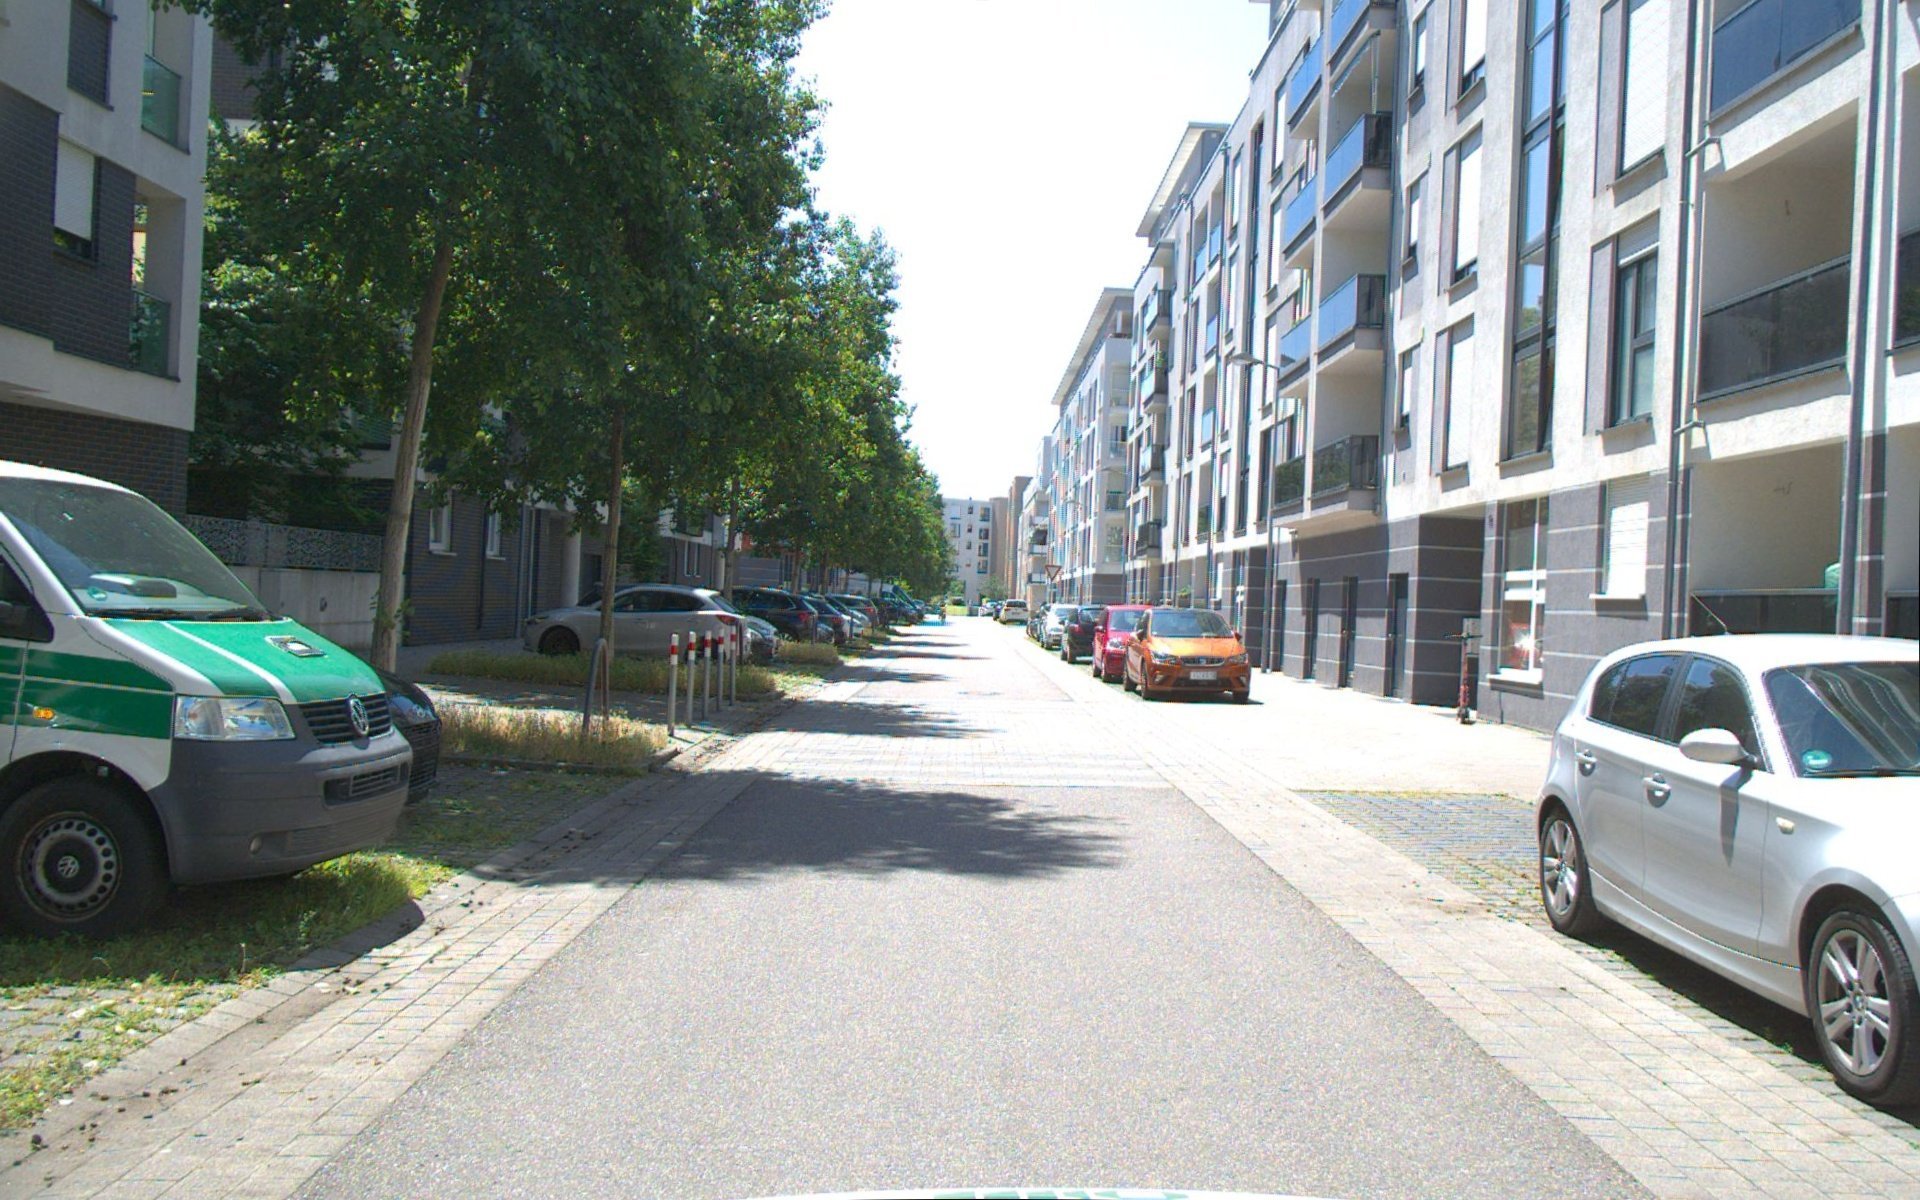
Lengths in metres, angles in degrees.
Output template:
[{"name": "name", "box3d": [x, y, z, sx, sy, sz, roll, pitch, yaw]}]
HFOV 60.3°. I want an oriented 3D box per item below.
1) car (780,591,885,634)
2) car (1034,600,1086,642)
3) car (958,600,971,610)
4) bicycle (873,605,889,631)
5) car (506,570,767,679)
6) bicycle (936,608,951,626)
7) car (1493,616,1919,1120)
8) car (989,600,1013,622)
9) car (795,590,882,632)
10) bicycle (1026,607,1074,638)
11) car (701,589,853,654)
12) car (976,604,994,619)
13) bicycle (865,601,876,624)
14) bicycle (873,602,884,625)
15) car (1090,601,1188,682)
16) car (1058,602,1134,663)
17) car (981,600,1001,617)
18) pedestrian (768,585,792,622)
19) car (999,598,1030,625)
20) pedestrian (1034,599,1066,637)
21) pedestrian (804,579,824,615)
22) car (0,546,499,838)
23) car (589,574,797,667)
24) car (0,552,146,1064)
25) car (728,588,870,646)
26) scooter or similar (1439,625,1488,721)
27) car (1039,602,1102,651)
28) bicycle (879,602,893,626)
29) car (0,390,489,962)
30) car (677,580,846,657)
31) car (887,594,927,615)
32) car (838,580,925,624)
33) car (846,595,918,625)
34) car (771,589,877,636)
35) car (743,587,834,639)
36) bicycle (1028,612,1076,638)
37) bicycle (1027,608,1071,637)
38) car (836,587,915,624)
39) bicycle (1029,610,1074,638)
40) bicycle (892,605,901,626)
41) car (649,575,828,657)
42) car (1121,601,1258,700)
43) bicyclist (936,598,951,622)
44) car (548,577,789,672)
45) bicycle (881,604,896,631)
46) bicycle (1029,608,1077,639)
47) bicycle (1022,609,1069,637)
[{"name": "car", "box3d": [-5.154, 0.513, 66.951, 4.098, 1.512, 1.957, 3, -1, -4]}, {"name": "car", "box3d": [3.758, 0.781, 62.776, 1.703, 1.511, 4.228, 1, 0, 0]}, {"name": "car", "box3d": [0.702, 0.749, 262.378, 1.953, 1.545, 3.999, 2, 0, -1]}, {"name": "bicycle", "box3d": [-3.558, 0.806, 74.365, 0.426, 1.147, 1.973, 1, 0, -12]}, {"name": "car", "box3d": [-5.667, 0.419, 29.371, 4.167, 1.544, 1.924, 4, 0, -1]}, {"name": "bicycle", "box3d": [-1.070, 1.078, 106.505, 0.880, 1.149, 2.039, 2, 0, -1]}, {"name": "car", "box3d": [3.736, 0.832, 6.595, 1.808, 1.441, 4.426, 2, 0, 1]}, {"name": "car", "box3d": [3.251, 0.871, 130.325, 1.721, 1.579, 4.002, 3, 0, 3]}, {"name": "car", "box3d": [-5.256, 0.478, 71.869, 3.556, 1.547, 1.832, 4, 0, 0]}, {"name": "bicycle", "box3d": [3.732, 0.947, 68.524, 1.888, 1.239, 0.459, 1, 0, -9]}, {"name": "car", "box3d": [-4.867, 0.567, 44.461, 3.896, 1.470, 1.774, 4, 0, -4]}, {"name": "car", "box3d": [3.110, 1.387, 206.101, 1.953, 1.747, 3.999, 2, 0, -1]}, {"name": "bicycle", "box3d": [-5.013, 0.706, 93.131, 0.508, 1.225, 1.752, 3, 1, -2]}, {"name": "bicycle", "box3d": [-4.558, 0.734, 92.879, 0.425, 1.225, 1.700, 3, 1, 1]}, {"name": "car", "box3d": [3.550, 0.789, 33.300, 1.562, 1.512, 3.675, 0, 0, 0]}, {"name": "car", "box3d": [3.496, 0.812, 43.068, 1.609, 1.488, 4.117, 0, 0, -1]}, {"name": "car", "box3d": [3.295, 0.935, 178.877, 1.953, 1.704, 3.999, 2, 0, -1]}, {"name": "pedestrian", "box3d": [-8.445, 0.161, 77.656, 0.979, 1.720, 0.832, 2, 0, 1]}, {"name": "car", "box3d": [3.620, 0.749, 110.218, 1.956, 1.686, 4.115, 1, 0, 0]}, {"name": "pedestrian", "box3d": [3.738, 0.752, 68.652, 1.157, 1.541, 0.686, 1, 0, -10]}, {"name": "pedestrian", "box3d": [-8.483, -0.200, 96.047, 0.988, 2.049, 1.130, 2, 0, 3]}, {"name": "car", "box3d": [-4.911, 0.492, 10.265, 3.550, 1.507, 1.678, 4, 0, -1]}, {"name": "car", "box3d": [-5.495, 0.414, 34.378, 3.906, 1.619, 1.884, 4, 0, 0]}, {"name": "car", "box3d": [-4.974, 0.540, 4.631, 4.331, 1.516, 1.999, 2, 0, -2]}, {"name": "car", "box3d": [-4.972, 0.510, 51.476, 4.273, 1.740, 1.999, 0, 0, -3]}, {"name": "scooter or similar", "box3d": [6.983, 0.994, 22.980, 0.534, 1.247, 1.530, 3, 0, 14]}, {"name": "car", "box3d": [3.591, 0.828, 54.457, 1.796, 1.531, 4.350, 1, 0, 0]}, {"name": "bicycle", "box3d": [-4.135, 0.781, 92.874, 0.559, 1.194, 1.766, 5, 1, -7]}, {"name": "car", "box3d": [-5.105, 0.221, 7.473, 5.231, 2.147, 2.188, 2, 0, 2]}, {"name": "car", "box3d": [-4.969, 0.456, 41.816, 3.905, 1.679, 1.918, 4, 0, 1]}, {"name": "car", "box3d": [-5.545, 0.450, 174.447, 3.902, 2.049, 2.001, 2, 0, 6]}, {"name": "car", "box3d": [-5.465, 0.147, 115.611, 5.901, 2.865, 2.605, 1, 0, 0]}, {"name": "car", "box3d": [-4.845, 0.613, 102.994, 4.294, 1.541, 2.075, 4, 0, 0]}, {"name": "car", "box3d": [-5.244, 0.474, 64.055, 3.858, 1.580, 1.872, 4, 0, -1]}, {"name": "car", "box3d": [-5.862, 0.425, 56.891, 2.874, 1.526, 1.848, 5, 0, -2]}, {"name": "bicycle", "box3d": [3.765, 1.023, 67.861, 1.885, 1.053, 0.559, 1, 0, -4]}, {"name": "bicycle", "box3d": [3.720, 0.931, 69.107, 1.806, 1.168, 0.458, 1, 0, -20]}, {"name": "car", "box3d": [-5.592, 0.344, 110.178, 5.040, 2.156, 2.311, 3, 0, 0]}, {"name": "bicycle", "box3d": [3.717, 0.974, 67.167, 1.751, 1.123, 0.746, 1, 0, -4]}, {"name": "bicycle", "box3d": [-3.558, 0.857, 93.095, 0.456, 1.161, 1.925, 2, 0, -2]}, {"name": "car", "box3d": [-5.207, 0.379, 39.290, 3.906, 1.657, 1.933, 4, 0, 0]}, {"name": "car", "box3d": [3.761, 0.781, 27.765, 1.702, 1.513, 4.258, 1, 0, 0]}, {"name": "bicyclist", "box3d": [-1.057, 0.633, 106.470, 0.934, 1.485, 0.799, 2, 0, -1]}, {"name": "car", "box3d": [-5.548, 0.451, 31.817, 4.229, 1.501, 1.792, 4, 0, 0]}, {"name": "bicycle", "box3d": [-3.204, 0.789, 74.394, 0.364, 1.201, 1.815, 1, 0, -12]}, {"name": "bicycle", "box3d": [3.729, 0.939, 66.421, 1.833, 1.239, 0.715, 1, 0, -4]}, {"name": "bicycle", "box3d": [3.588, 0.955, 69.472, 1.882, 1.153, 0.609, 1, 0, 9]}]
